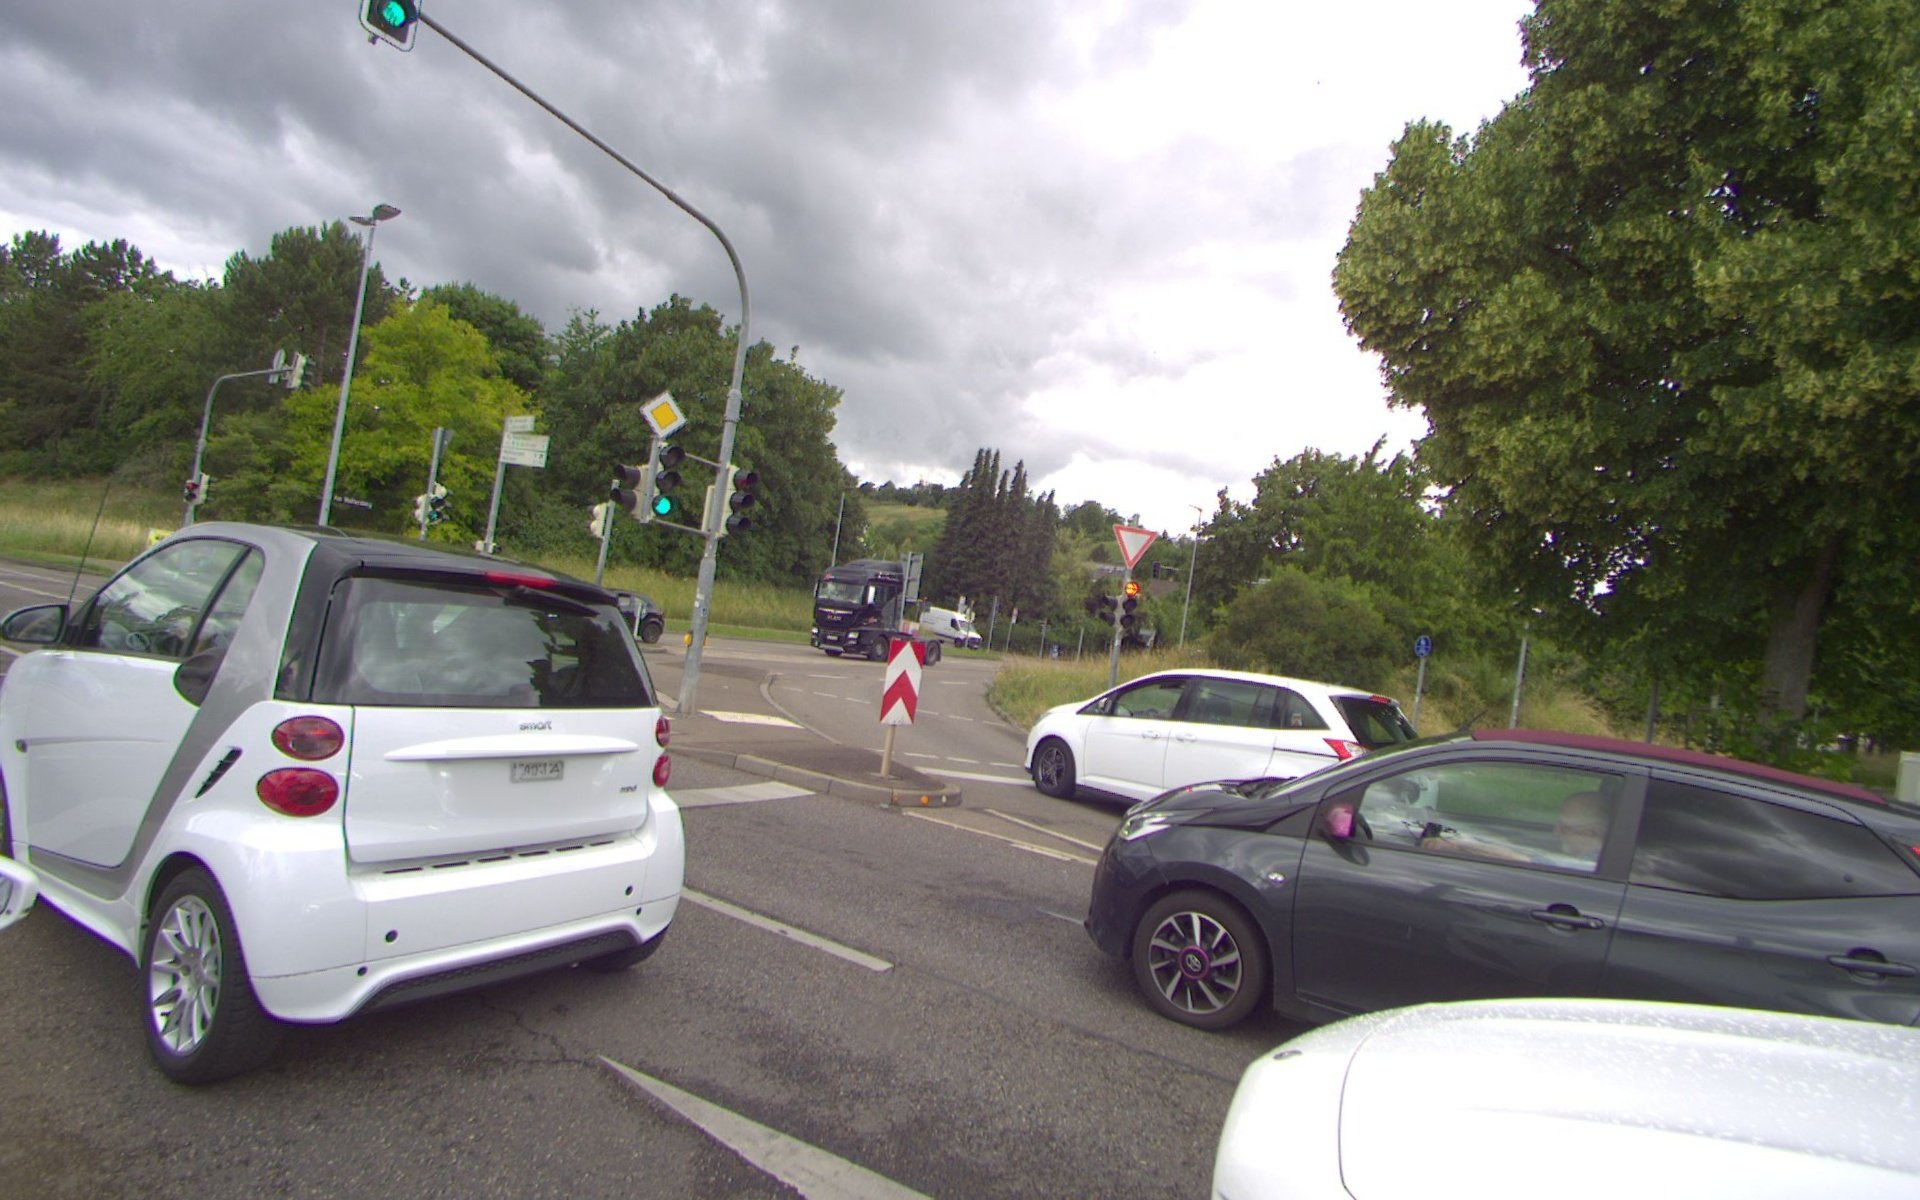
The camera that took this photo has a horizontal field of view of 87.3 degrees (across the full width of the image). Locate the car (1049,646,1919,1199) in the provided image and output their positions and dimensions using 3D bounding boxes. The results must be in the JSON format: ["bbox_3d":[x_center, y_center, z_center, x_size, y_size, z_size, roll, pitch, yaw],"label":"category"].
[{"bbox_3d":[2.517,1.192,4.237,3.816,1.470,1.616,6,-2,30],"label":"car"}]

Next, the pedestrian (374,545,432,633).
[{"bbox_3d":[-11.417,-0.218,20.607,0.703,1.681,0.644,6,-1,39],"label":"pedestrian"}]

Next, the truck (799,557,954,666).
[{"bbox_3d":[-3.168,0.548,39.957,2.648,3.526,6.006,6,-2,34],"label":"truck"}]

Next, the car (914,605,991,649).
[{"bbox_3d":[-0.620,2.067,77.687,5.743,2.661,1.992,6,-2,41],"label":"car"}]

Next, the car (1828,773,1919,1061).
[{"bbox_3d":[7.105,2.030,5.378,3.511,1.524,1.603,6,-2,38],"label":"car"}]

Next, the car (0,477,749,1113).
[{"bbox_3d":[-2.453,0.470,3.911,2.721,1.533,1.595,6,-2,33],"label":"car"}]

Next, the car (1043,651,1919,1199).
[{"bbox_3d":[2.443,1.114,0.851,4.455,1.524,1.848,6,-2,31],"label":"car"}]

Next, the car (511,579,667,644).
[{"bbox_3d":[-10.582,0.376,28.939,1.669,1.353,3.882,6,-3,34],"label":"car"}]

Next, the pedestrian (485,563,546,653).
[{"bbox_3d":[-8.635,0.158,19.547,0.703,1.630,0.644,6,-1,37],"label":"pedestrian"}]

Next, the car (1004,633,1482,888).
[{"bbox_3d":[2.601,1.453,10.223,1.752,1.673,4.325,10,-3,-37],"label":"car"}]
